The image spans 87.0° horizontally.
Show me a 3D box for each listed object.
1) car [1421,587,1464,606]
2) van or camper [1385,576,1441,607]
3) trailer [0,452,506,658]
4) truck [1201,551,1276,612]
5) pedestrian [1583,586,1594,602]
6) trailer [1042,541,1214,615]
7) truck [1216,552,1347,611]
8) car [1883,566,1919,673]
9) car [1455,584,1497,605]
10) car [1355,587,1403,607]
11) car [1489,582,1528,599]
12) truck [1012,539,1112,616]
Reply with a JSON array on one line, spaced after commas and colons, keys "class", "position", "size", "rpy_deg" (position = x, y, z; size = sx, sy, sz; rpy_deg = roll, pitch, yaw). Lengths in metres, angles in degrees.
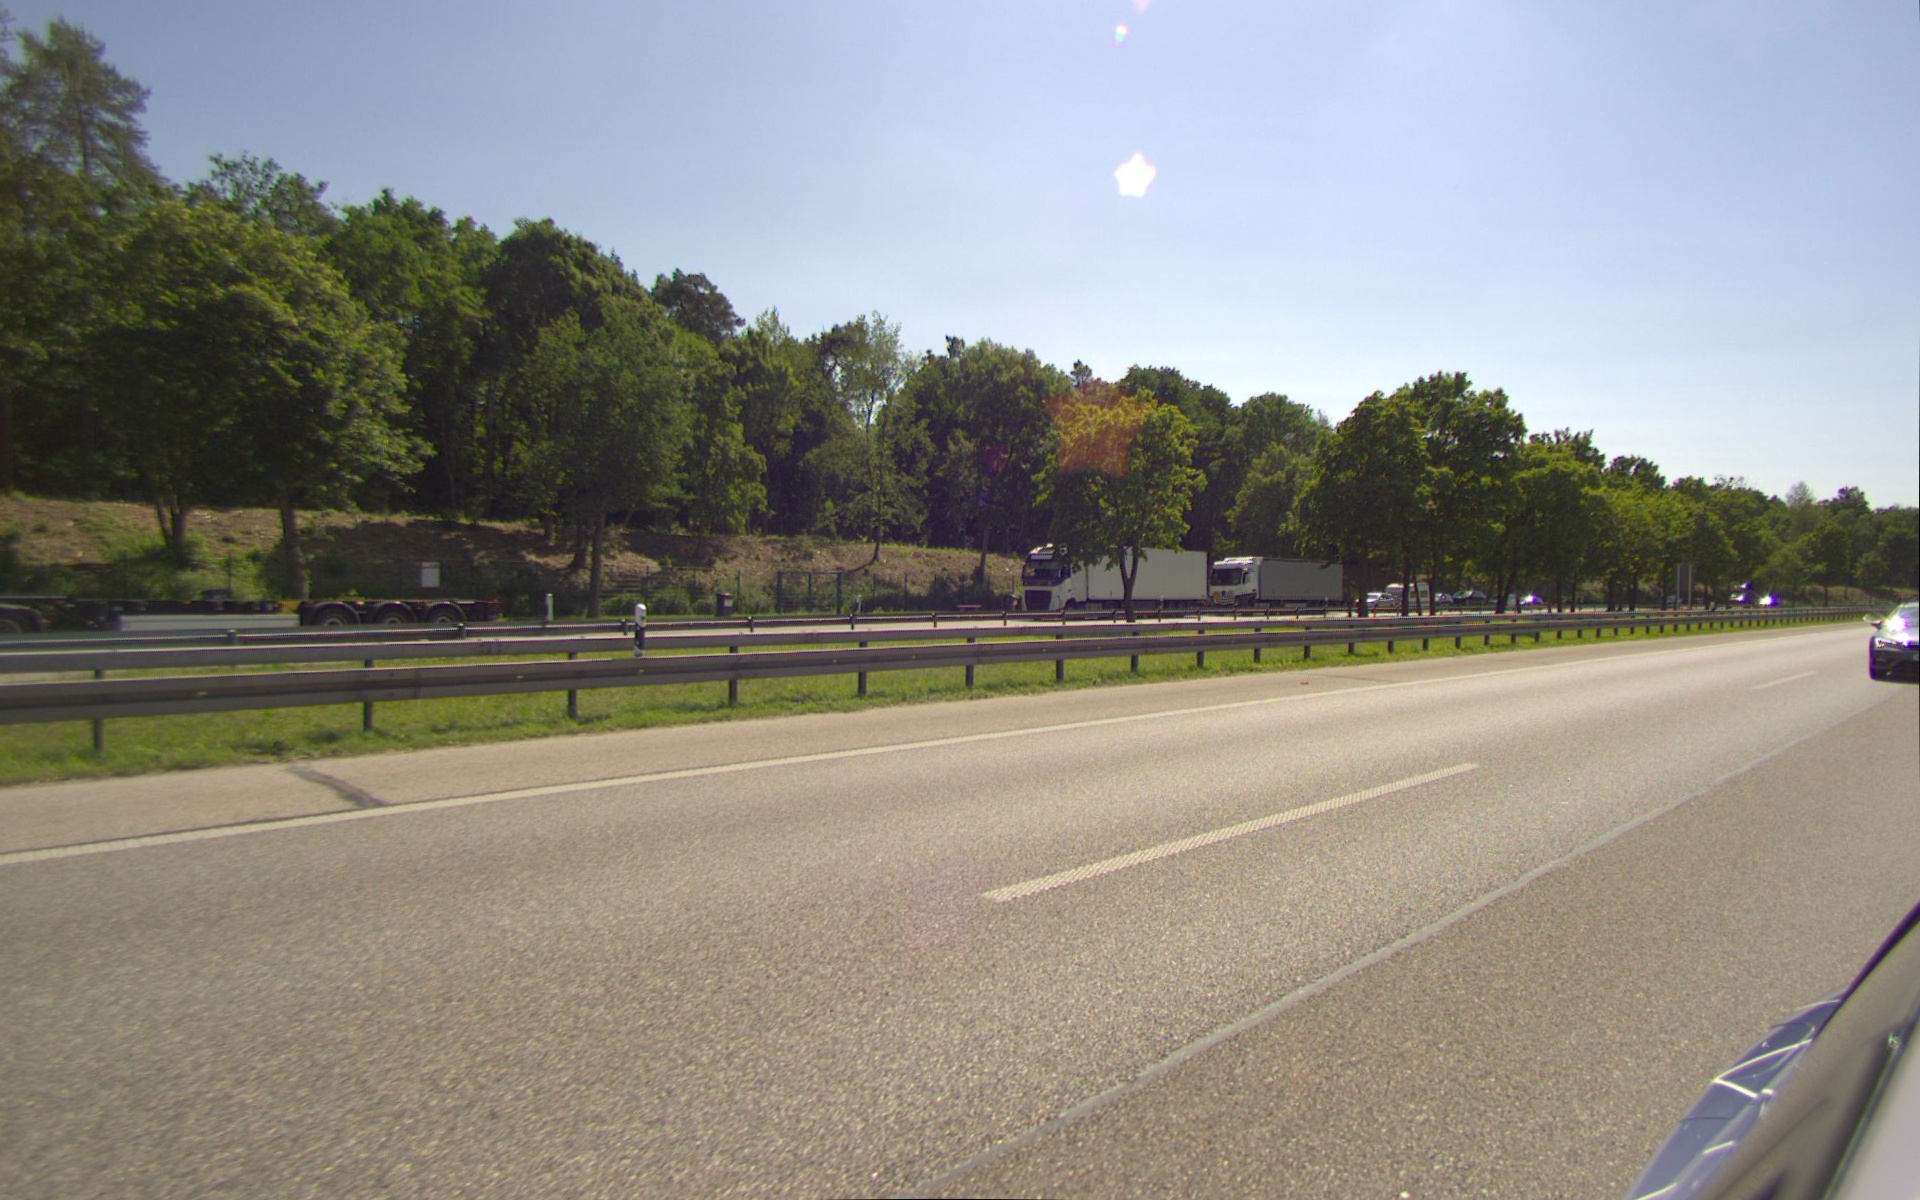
[{"class": "car", "position": [43.946, -0.336, 92.162], "size": [4.413, 1.662, 1.661], "rpy_deg": [0, 1, -37]}, {"class": "van or camper", "position": [39.655, -0.754, 88.535], "size": [5.772, 2.562, 2.208], "rpy_deg": [0, 1, -41]}, {"class": "trailer", "position": [-17.177, -0.923, 23.498], "size": [2.564, 3.964, 12.585], "rpy_deg": [1, 1, 36]}, {"class": "truck", "position": [18.991, -1.279, 68.970], "size": [2.972, 3.980, 4.756], "rpy_deg": [1, 1, 45]}, {"class": "pedestrian", "position": [70.492, -0.704, 113.471], "size": [0.785, 1.804, 0.643], "rpy_deg": [1, 1, -1]}, {"class": "trailer", "position": [10.135, -1.201, 58.765], "size": [2.856, 3.844, 13.975], "rpy_deg": [1, 1, 42]}, {"class": "truck", "position": [23.739, -1.319, 73.856], "size": [2.997, 3.980, 14.228], "rpy_deg": [1, 1, 44]}, {"class": "car", "position": [19.058, 0.373, 19.242], "size": [4.743, 1.899, 1.668], "rpy_deg": [0, 2, -41]}, {"class": "car", "position": [49.128, -0.527, 96.381], "size": [4.710, 1.900, 1.661], "rpy_deg": [0, 1, -37]}, {"class": "car", "position": [34.970, -0.243, 84.391], "size": [4.470, 1.617, 1.661], "rpy_deg": [0, 1, -37]}, {"class": "car", "position": [55.776, -0.960, 102.865], "size": [4.565, 1.696, 1.661], "rpy_deg": [0, 1, -37]}, {"class": "truck", "position": [5.433, -1.156, 53.459], "size": [2.807, 3.844, 5.067], "rpy_deg": [1, 1, 42]}]
